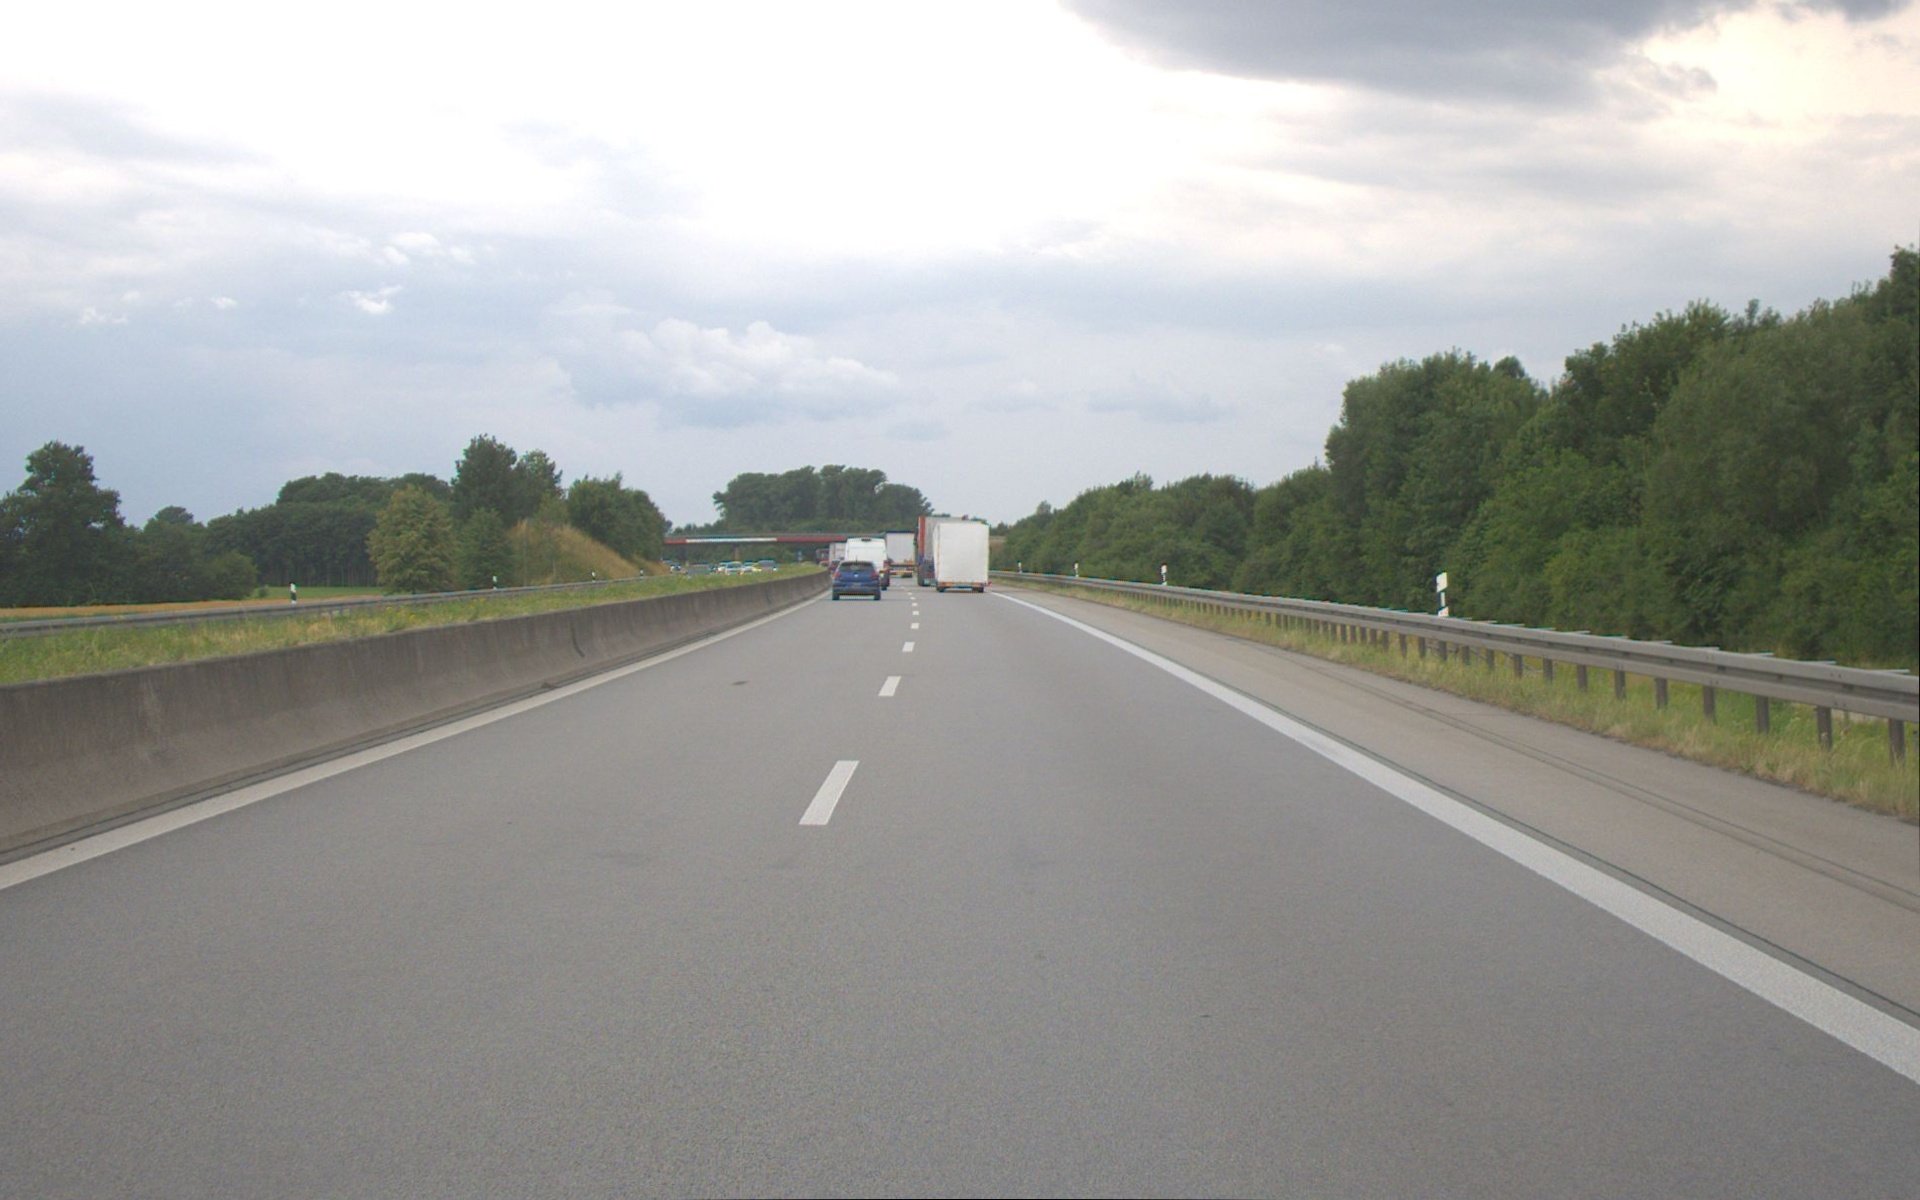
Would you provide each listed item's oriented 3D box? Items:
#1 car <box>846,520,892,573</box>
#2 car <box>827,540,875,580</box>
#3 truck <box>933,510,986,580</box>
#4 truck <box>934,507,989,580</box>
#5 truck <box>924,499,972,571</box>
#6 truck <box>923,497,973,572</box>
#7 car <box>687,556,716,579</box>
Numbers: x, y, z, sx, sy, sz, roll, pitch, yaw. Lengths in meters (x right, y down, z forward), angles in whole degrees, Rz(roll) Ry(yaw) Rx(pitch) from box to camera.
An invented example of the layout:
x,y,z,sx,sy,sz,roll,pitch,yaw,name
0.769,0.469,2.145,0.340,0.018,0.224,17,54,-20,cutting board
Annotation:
x,y,z,sx,sy,sz,roll,pitch,yaw,name
-4.371,-2.571,165.692,2.130,2.474,5.840,-1,0,-1,car
-3.912,-1.430,123.298,1.663,1.402,3.649,0,1,-3,car
-0.054,-2.559,162.574,2.429,3.232,7.247,0,0,-1,truck
0.026,-2.526,155.380,2.415,3.211,7.144,0,0,-1,truck
-0.697,-3.751,197.904,2.673,4.032,5.512,-1,1,0,truck
-0.678,-3.654,192.494,2.673,4.032,11.108,-1,1,0,truck
-17.697,-2.233,235.670,1.746,1.482,4.530,-2,1,-2,car
